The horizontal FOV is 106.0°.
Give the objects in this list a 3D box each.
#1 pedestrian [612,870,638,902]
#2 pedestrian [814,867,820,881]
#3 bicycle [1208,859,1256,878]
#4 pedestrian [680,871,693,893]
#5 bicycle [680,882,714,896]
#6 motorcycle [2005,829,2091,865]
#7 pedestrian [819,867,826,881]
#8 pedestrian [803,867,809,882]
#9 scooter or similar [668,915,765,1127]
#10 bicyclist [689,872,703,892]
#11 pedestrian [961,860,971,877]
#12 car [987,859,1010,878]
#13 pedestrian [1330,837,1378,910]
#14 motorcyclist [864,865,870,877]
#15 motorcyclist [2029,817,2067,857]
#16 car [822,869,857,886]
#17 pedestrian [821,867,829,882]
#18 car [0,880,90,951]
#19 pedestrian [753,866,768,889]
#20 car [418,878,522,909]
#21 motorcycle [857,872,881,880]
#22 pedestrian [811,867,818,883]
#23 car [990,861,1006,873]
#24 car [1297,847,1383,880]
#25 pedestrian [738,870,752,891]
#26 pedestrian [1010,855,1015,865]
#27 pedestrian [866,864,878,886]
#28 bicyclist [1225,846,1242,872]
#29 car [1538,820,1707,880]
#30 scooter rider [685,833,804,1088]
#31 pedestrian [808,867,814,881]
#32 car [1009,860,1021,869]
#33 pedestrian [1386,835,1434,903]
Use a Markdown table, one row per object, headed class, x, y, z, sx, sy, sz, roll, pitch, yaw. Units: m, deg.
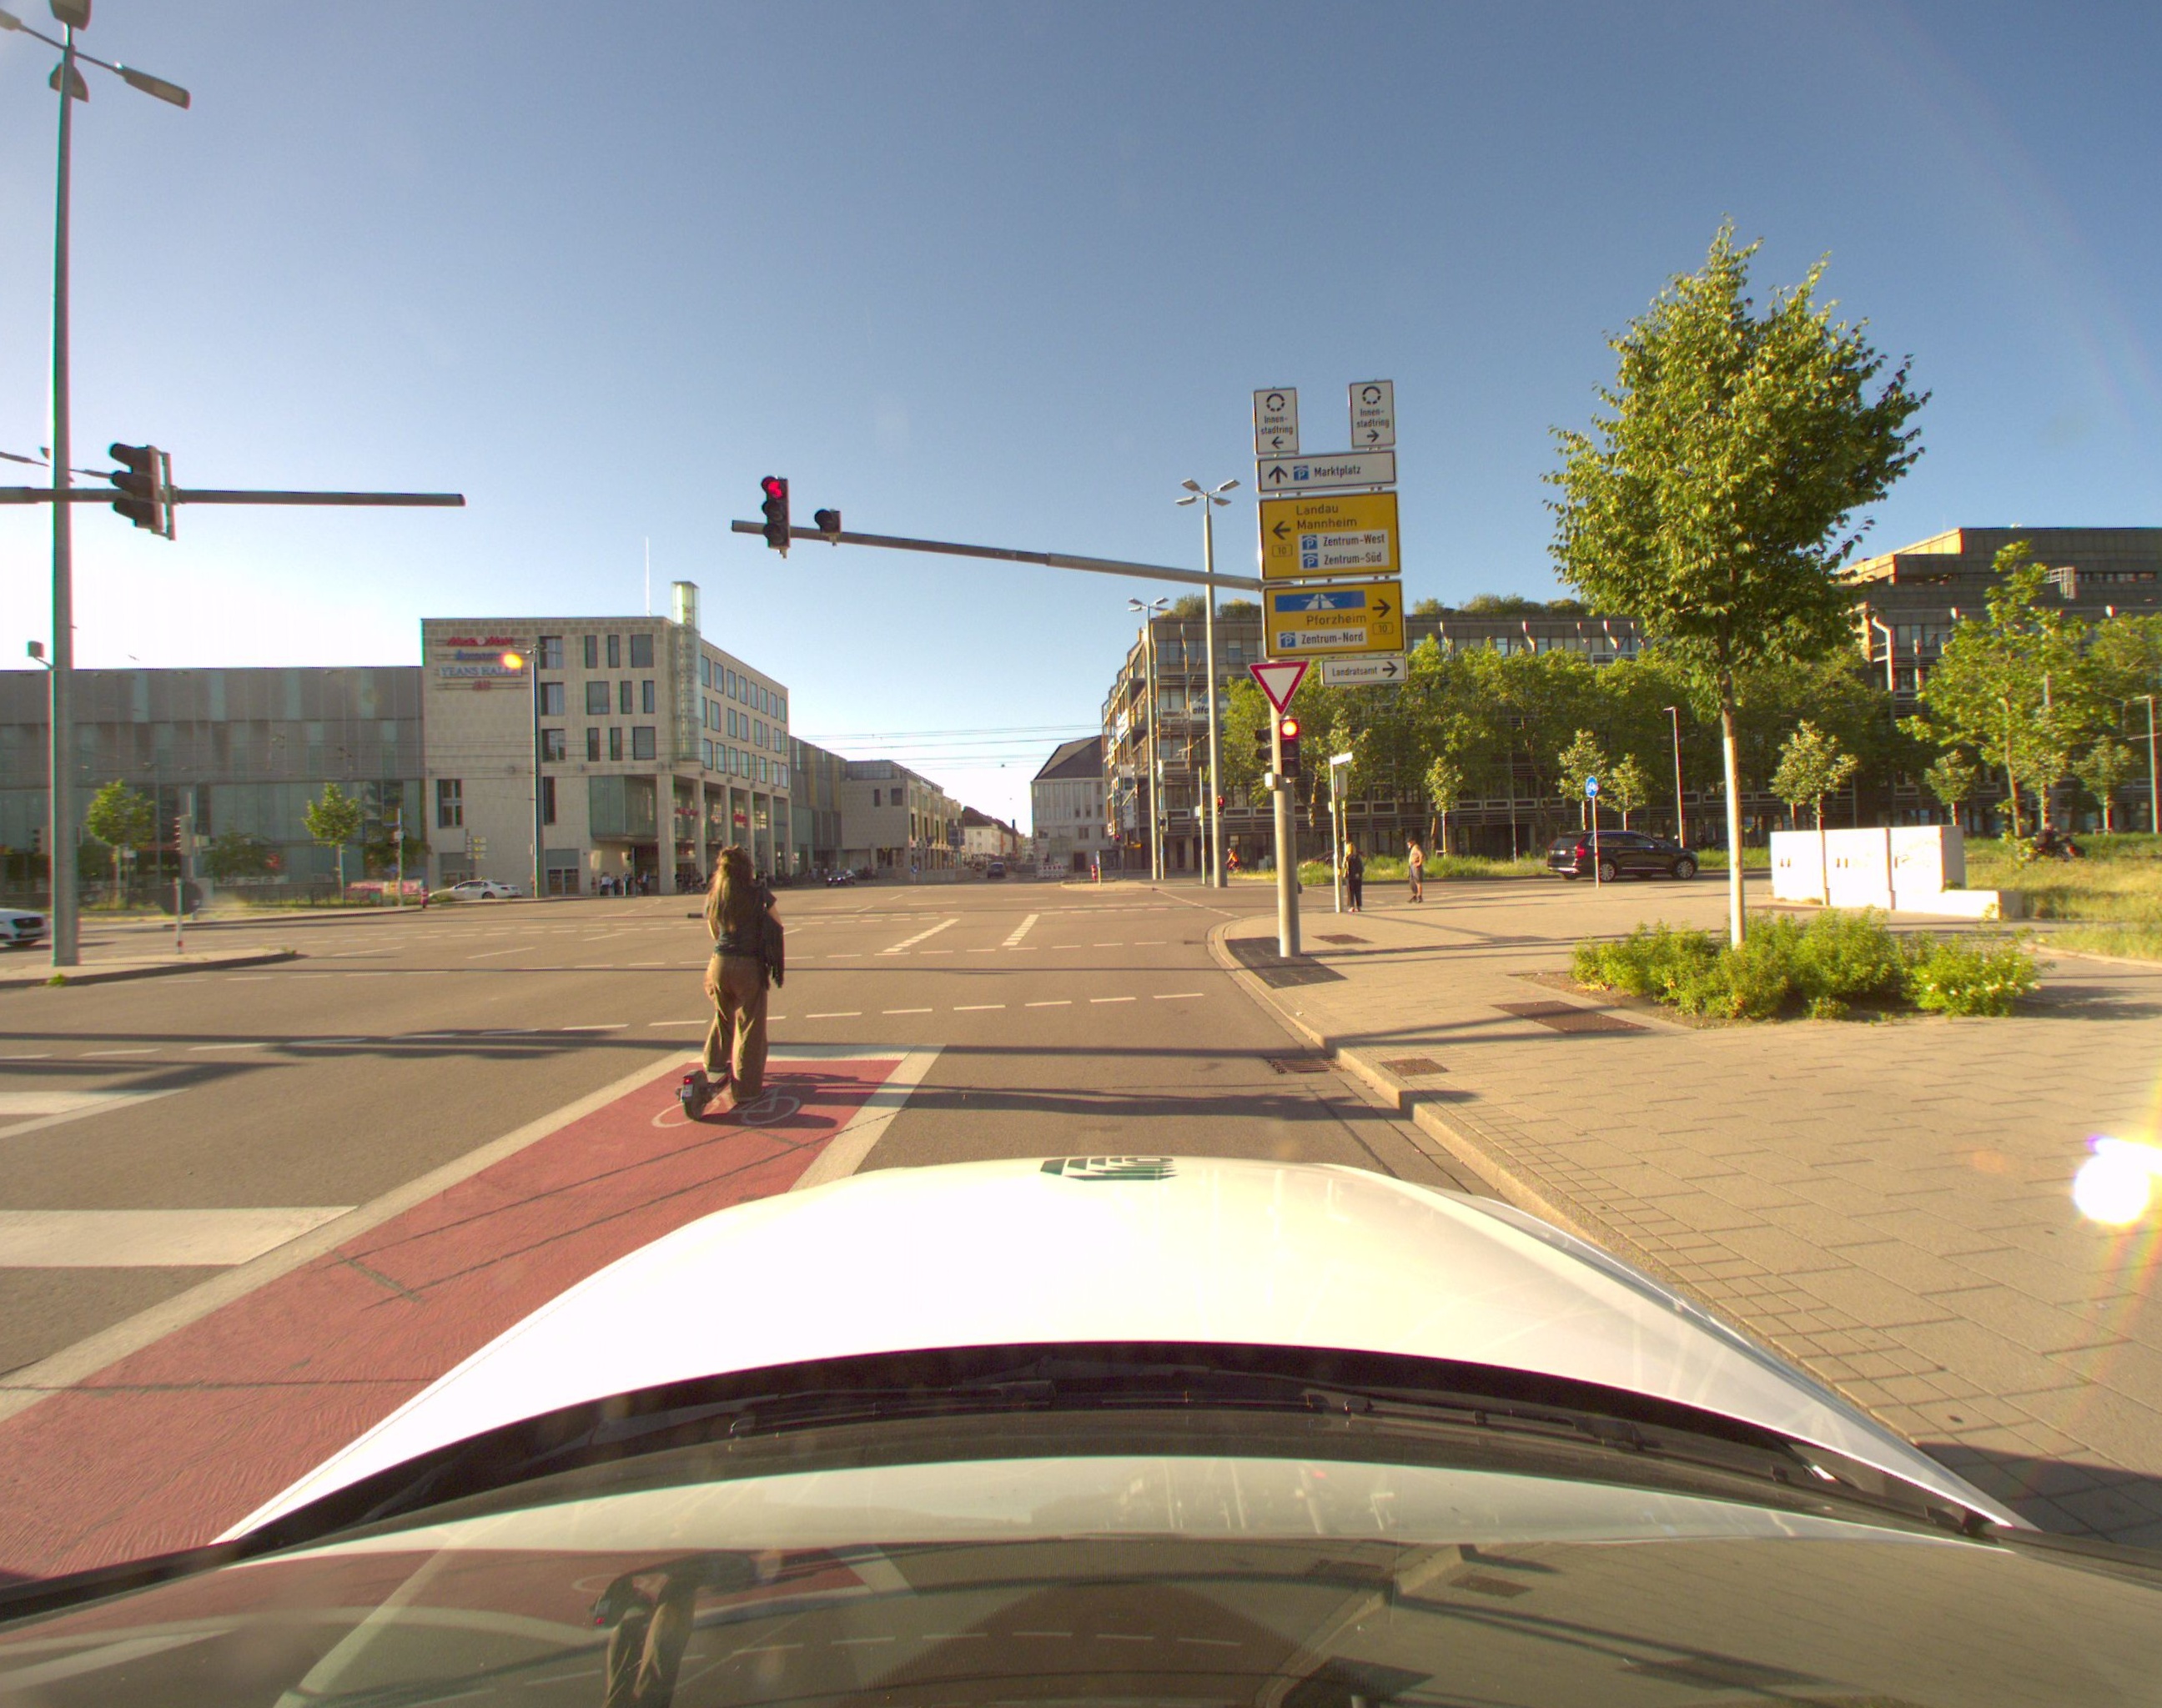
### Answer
| class | x | y | z | sx | sy | sz | roll | pitch | yaw |
| --- | --- | --- | --- | --- | --- | --- | --- | --- | --- |
| pedestrian | -25.124 | 1.767 | 44.903 | 0.821 | 1.675 | 1.004 | -2 | 0 | -2 |
| pedestrian | -31.494 | 2.389 | 97.055 | 0.465 | 1.683 | 0.524 | -1 | -1 | 40 |
| bicycle | 8.712 | 0.822 | 47.050 | 2.561 | 0.975 | 1.047 | -2 | 0 | -1 |
| pedestrian | -30.527 | 2.168 | 62.999 | 0.590 | 1.646 | 0.629 | -2 | 0 | 1 |
| bicycle | -27.984 | 2.529 | 59.389 | 0.629 | 0.903 | 2.232 | -2 | 0 | 29 |
| motorcycle | 35.641 | -0.269 | 30.021 | 2.591 | 1.208 | 0.728 | -2 | 1 | -6 |
| pedestrian | -30.806 | 2.372 | 97.107 | 0.465 | 1.729 | 0.632 | -1 | -1 | 30 |
| pedestrian | -32.299 | 2.370 | 95.514 | 0.465 | 1.729 | 0.524 | -1 | -1 | 40 |
| scooter or similar | -2.200 | 0.962 | 4.969 | 0.306 | 1.107 | 0.835 | -2 | 0 | -9 |
| bicyclist | -28.031 | 2.029 | 59.318 | 0.620 | 1.448 | 0.592 | -2 | 0 | 29 |
| pedestrian | -11.969 | 1.496 | 84.761 | 0.896 | 1.782 | 0.809 | -2 | 0 | 1 |
| car | -7.781 | 1.315 | 76.960 | 1.815 | 1.684 | 3.996 | -2 | 0 | -3 |
| pedestrian | 6.332 | 0.443 | 18.930 | 0.763 | 1.614 | 0.874 | -2 | 0 | 0 |
| motorcyclist | -25.979 | 2.101 | 99.036 | 0.627 | 1.406 | 0.661 | 0 | -1 | -7 |
| motorcyclist | 35.597 | -0.626 | 29.988 | 0.656 | 1.423 | 0.647 | -2 | 1 | -6 |
| car | -20.839 | 1.998 | 70.448 | 1.670 | 1.357 | 4.021 | -2 | 0 | 1 |
| pedestrian | -29.844 | 2.348 | 95.036 | 0.465 | 1.729 | 0.699 | -1 | -1 | 40 |
| car | -27.246 | 1.521 | 18.973 | 5.087 | 1.564 | 1.992 | -2 | 0 | -12 |
| pedestrian | -26.198 | 1.916 | 66.595 | 0.935 | 1.864 | 0.541 | -2 | 0 | 18 |
| car | -37.758 | 2.431 | 50.403 | 4.835 | 1.684 | 1.823 | -2 | 0 | -4 |
| motorcycle | -25.735 | 2.651 | 98.916 | 2.600 | 0.993 | 1.113 | 0 | -1 | -8 |
| pedestrian | -30.815 | 2.427 | 94.199 | 0.465 | 1.729 | 0.632 | -1 | -1 | 35 |
| car | -11.018 | 1.760 | 108.521 | 1.652 | 1.458 | 3.543 | -2 | 0 | 2 |
| car | 14.678 | 0.528 | 46.232 | 4.287 | 1.684 | 1.820 | -2 | 0 | -9 |
| pedestrian | -27.347 | 2.155 | 66.362 | 0.770 | 1.638 | 0.629 | -2 | 0 | 20 |
| pedestrian | -13.905 | 1.206 | 165.255 | 0.907 | 1.965 | 0.823 | 0 | -1 | 1 |
| pedestrian | -16.396 | 1.620 | 63.754 | 0.697 | 1.688 | 0.620 | -2 | 0 | 2 |
| bicyclist | 8.828 | 0.310 | 47.066 | 0.820 | 1.474 | 0.652 | -2 | 0 | -2 |
| car | 18.795 | -0.144 | 28.381 | 4.811 | 1.864 | 1.882 | -2 | 0 | -7 |
| scooter rider | -2.128 | 0.644 | 5.194 | 0.552 | 1.530 | 0.448 | -2 | 0 | -7 |
| pedestrian | -32.259 | 2.383 | 97.229 | 0.465 | 1.729 | 0.524 | -1 | -1 | 40 |
| car | -11.868 | 1.870 | 146.334 | 1.652 | 1.458 | 3.543 | -2 | 0 | 2 |
| pedestrian | 8.506 | 0.377 | 21.076 | 0.869 | 1.706 | 0.768 | -2 | 0 | 0 |
